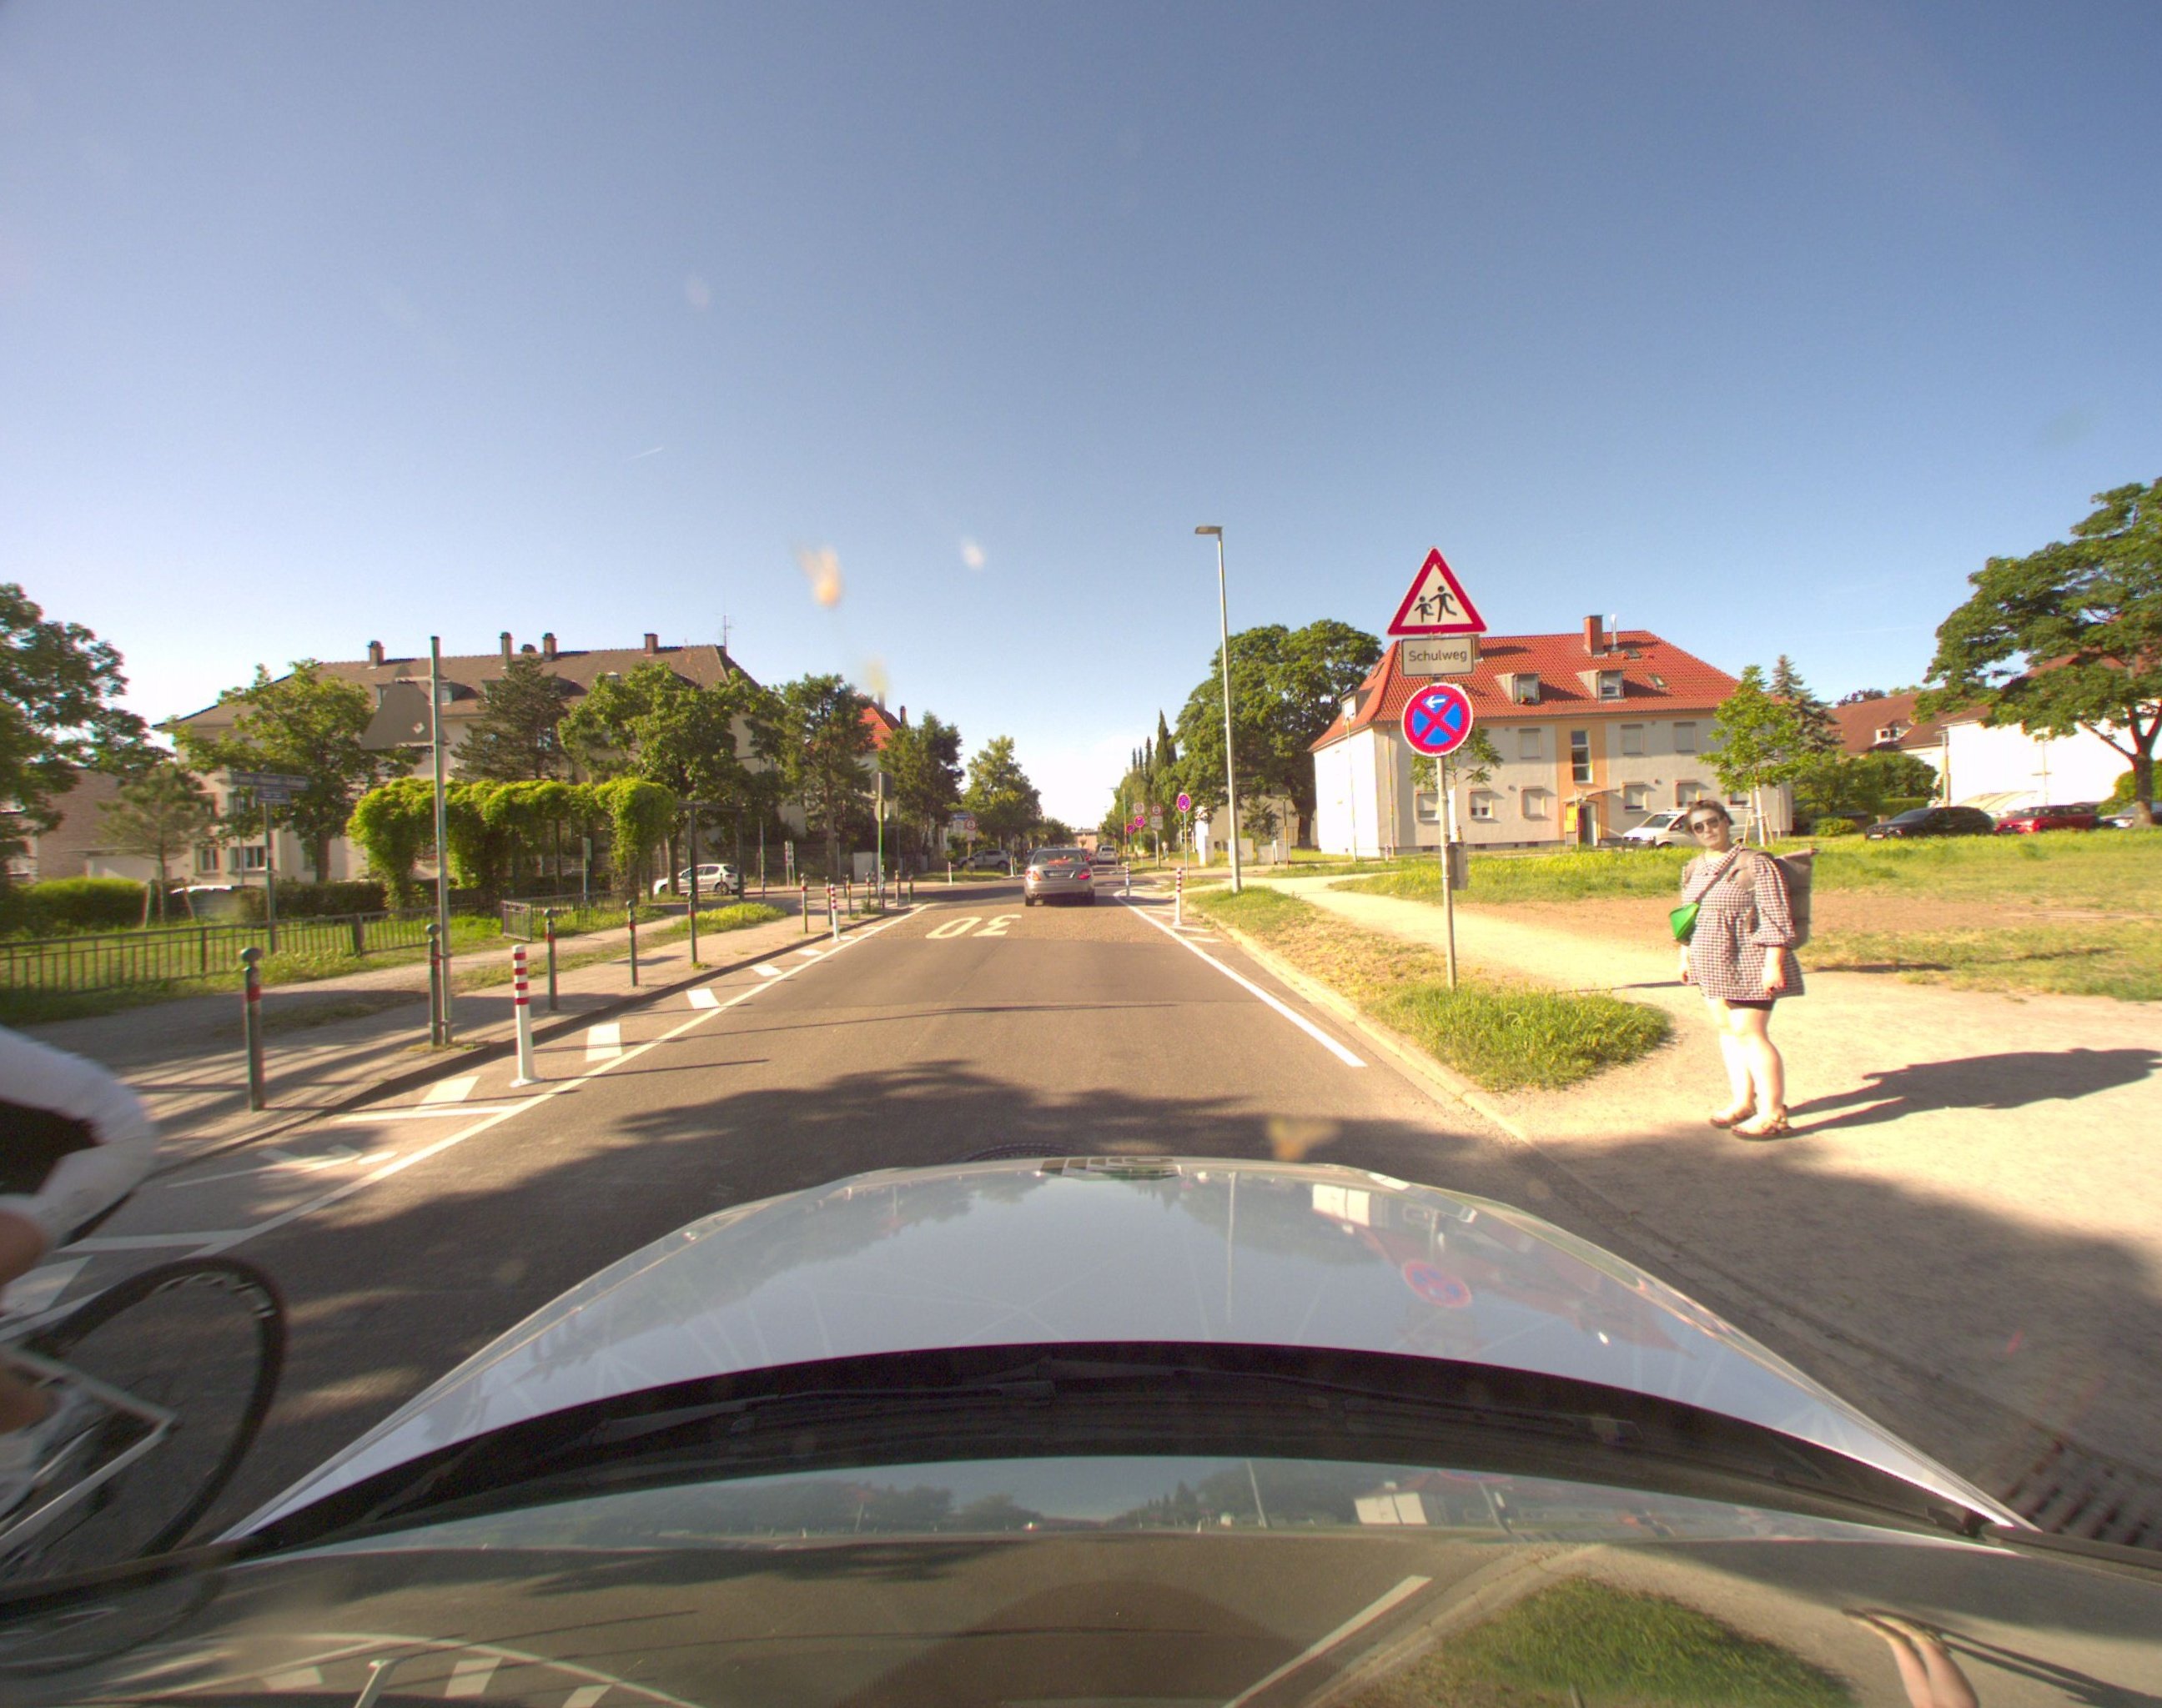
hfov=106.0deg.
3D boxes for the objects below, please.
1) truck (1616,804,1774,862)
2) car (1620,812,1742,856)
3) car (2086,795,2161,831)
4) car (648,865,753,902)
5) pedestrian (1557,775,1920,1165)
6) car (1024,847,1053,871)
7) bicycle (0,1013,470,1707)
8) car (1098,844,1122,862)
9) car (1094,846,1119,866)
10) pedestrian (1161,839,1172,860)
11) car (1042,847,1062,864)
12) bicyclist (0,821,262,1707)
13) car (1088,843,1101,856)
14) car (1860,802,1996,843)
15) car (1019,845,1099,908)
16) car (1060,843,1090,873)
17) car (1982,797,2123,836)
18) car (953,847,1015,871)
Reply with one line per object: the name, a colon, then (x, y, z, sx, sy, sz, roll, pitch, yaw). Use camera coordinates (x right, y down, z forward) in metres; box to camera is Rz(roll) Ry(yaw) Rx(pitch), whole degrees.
truck: (24.641, -0.844, 32.821, 4.842, 2.036, 2.000, -3, 1, 0)
car: (26.248, -0.863, 35.733, 4.037, 1.664, 1.722, -3, 0, 1)
car: (47.418, -1.867, 35.866, 4.112, 1.441, 1.722, -3, 1, 1)
car: (-16.846, 1.280, 36.177, 3.752, 1.398, 1.707, -3, -1, 0)
pedestrian: (3.399, 0.517, 4.282, 1.089, 1.673, 0.908, -8, 2, -16)
car: (-3.303, 0.394, 63.697, 1.988, 1.609, 3.998, -6, 1, -1)
bicycle: (-2.024, 1.022, 1.490, 0.504, 1.089, 1.708, -3, 0, -1)
car: (2.689, -0.098, 76.832, 1.988, 1.609, 3.998, -3, 1, -1)
car: (2.033, 0.155, 66.025, 1.728, 1.479, 3.723, -3, 1, -1)
pedestrian: (6.613, -0.362, 62.834, 0.762, 1.611, 0.835, -3, 0, 5)
car: (-3.082, 0.125, 87.123, 1.988, 1.609, 3.998, -6, 1, -1)
bicyclist: (-2.037, 0.687, 1.401, 0.495, 1.464, 0.687, -3, 0, -2)
car: (2.009, -0.712, 121.892, 1.849, 1.841, 4.000, -3, 1, 0)
car: (37.008, -1.351, 35.657, 4.112, 1.583, 1.722, -3, 1, 1)
car: (-0.477, 0.525, 21.416, 1.829, 1.441, 4.002, -2, 0, 2)
car: (-0.369, 0.214, 47.310, 1.593, 1.609, 3.642, -3, 1, -1)
car: (42.687, -1.637, 35.838, 4.112, 1.441, 1.722, -3, 1, 1)
car: (-6.928, 0.346, 58.536, 4.182, 1.564, 1.840, -2, 0, -3)
